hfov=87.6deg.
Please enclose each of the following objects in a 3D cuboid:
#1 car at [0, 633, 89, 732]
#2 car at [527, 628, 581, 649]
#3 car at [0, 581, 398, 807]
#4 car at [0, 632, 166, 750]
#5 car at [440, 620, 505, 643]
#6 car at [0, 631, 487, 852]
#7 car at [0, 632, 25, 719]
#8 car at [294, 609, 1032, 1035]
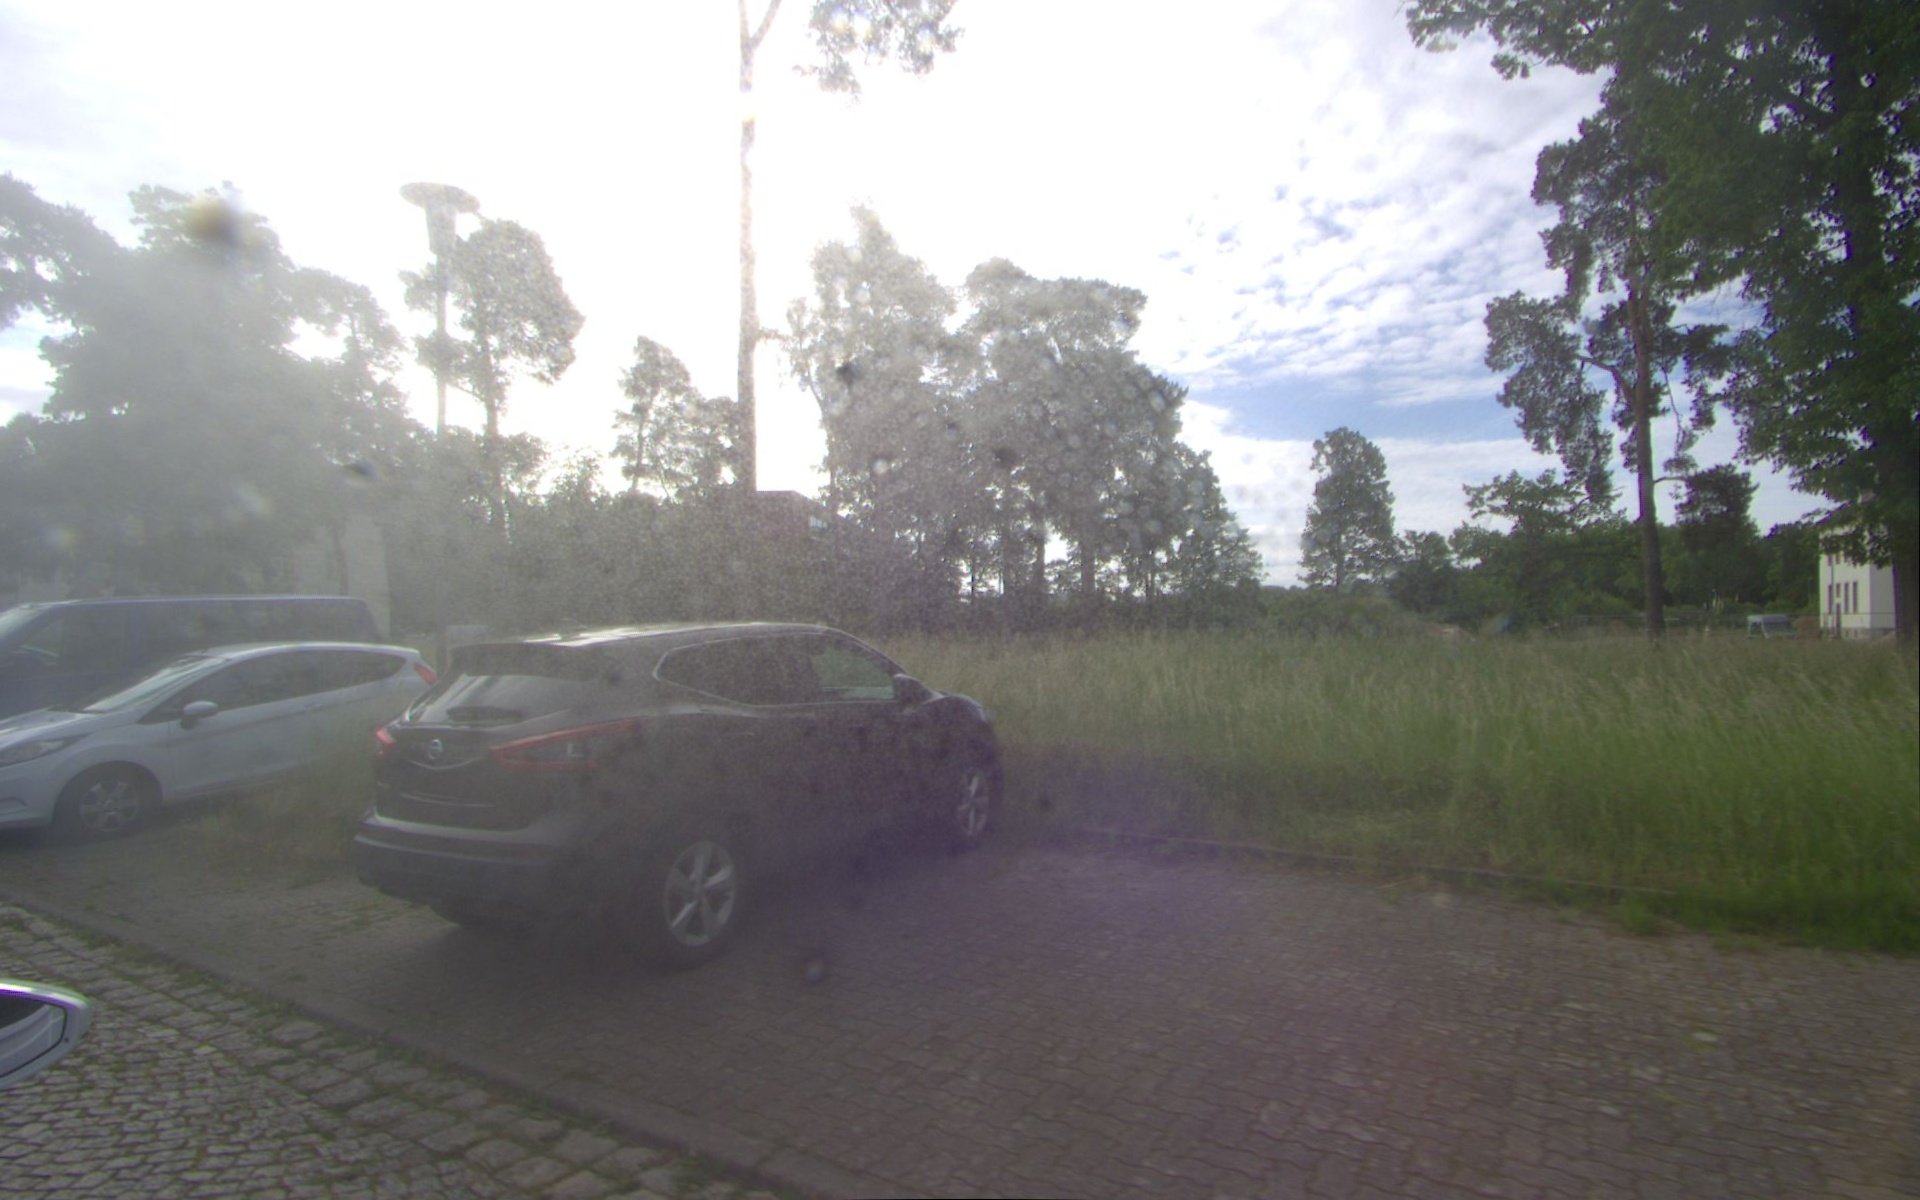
[{"bbox_3d":[-15.802,1.269,14.777,1.740,1.466,4.123,-1,-1,32],"label":"car"},{"bbox_3d":[-36.663,3.537,90.521,1.873,1.826,4.126,-1,-3,33],"label":"car"},{"bbox_3d":[-8.869,0.870,10.605,1.937,2.030,4.790,-1,-1,29],"label":"car"},{"bbox_3d":[-13.246,1.214,13.472,1.740,1.498,3.647,-1,-1,31],"label":"car"},{"bbox_3d":[-46.253,3.016,95.107,2.076,2.044,5.293,-1,-3,32],"label":"car"},{"bbox_3d":[-6.748,1.082,9.263,1.695,1.498,4.094,-1,-1,28],"label":"car"},{"bbox_3d":[-18.048,1.313,16.524,1.717,1.506,3.500,-1,-1,31],"label":"car"},{"bbox_3d":[-1.318,0.881,6.139,1.923,1.616,4.199,-1,-1,29],"label":"car"}]
